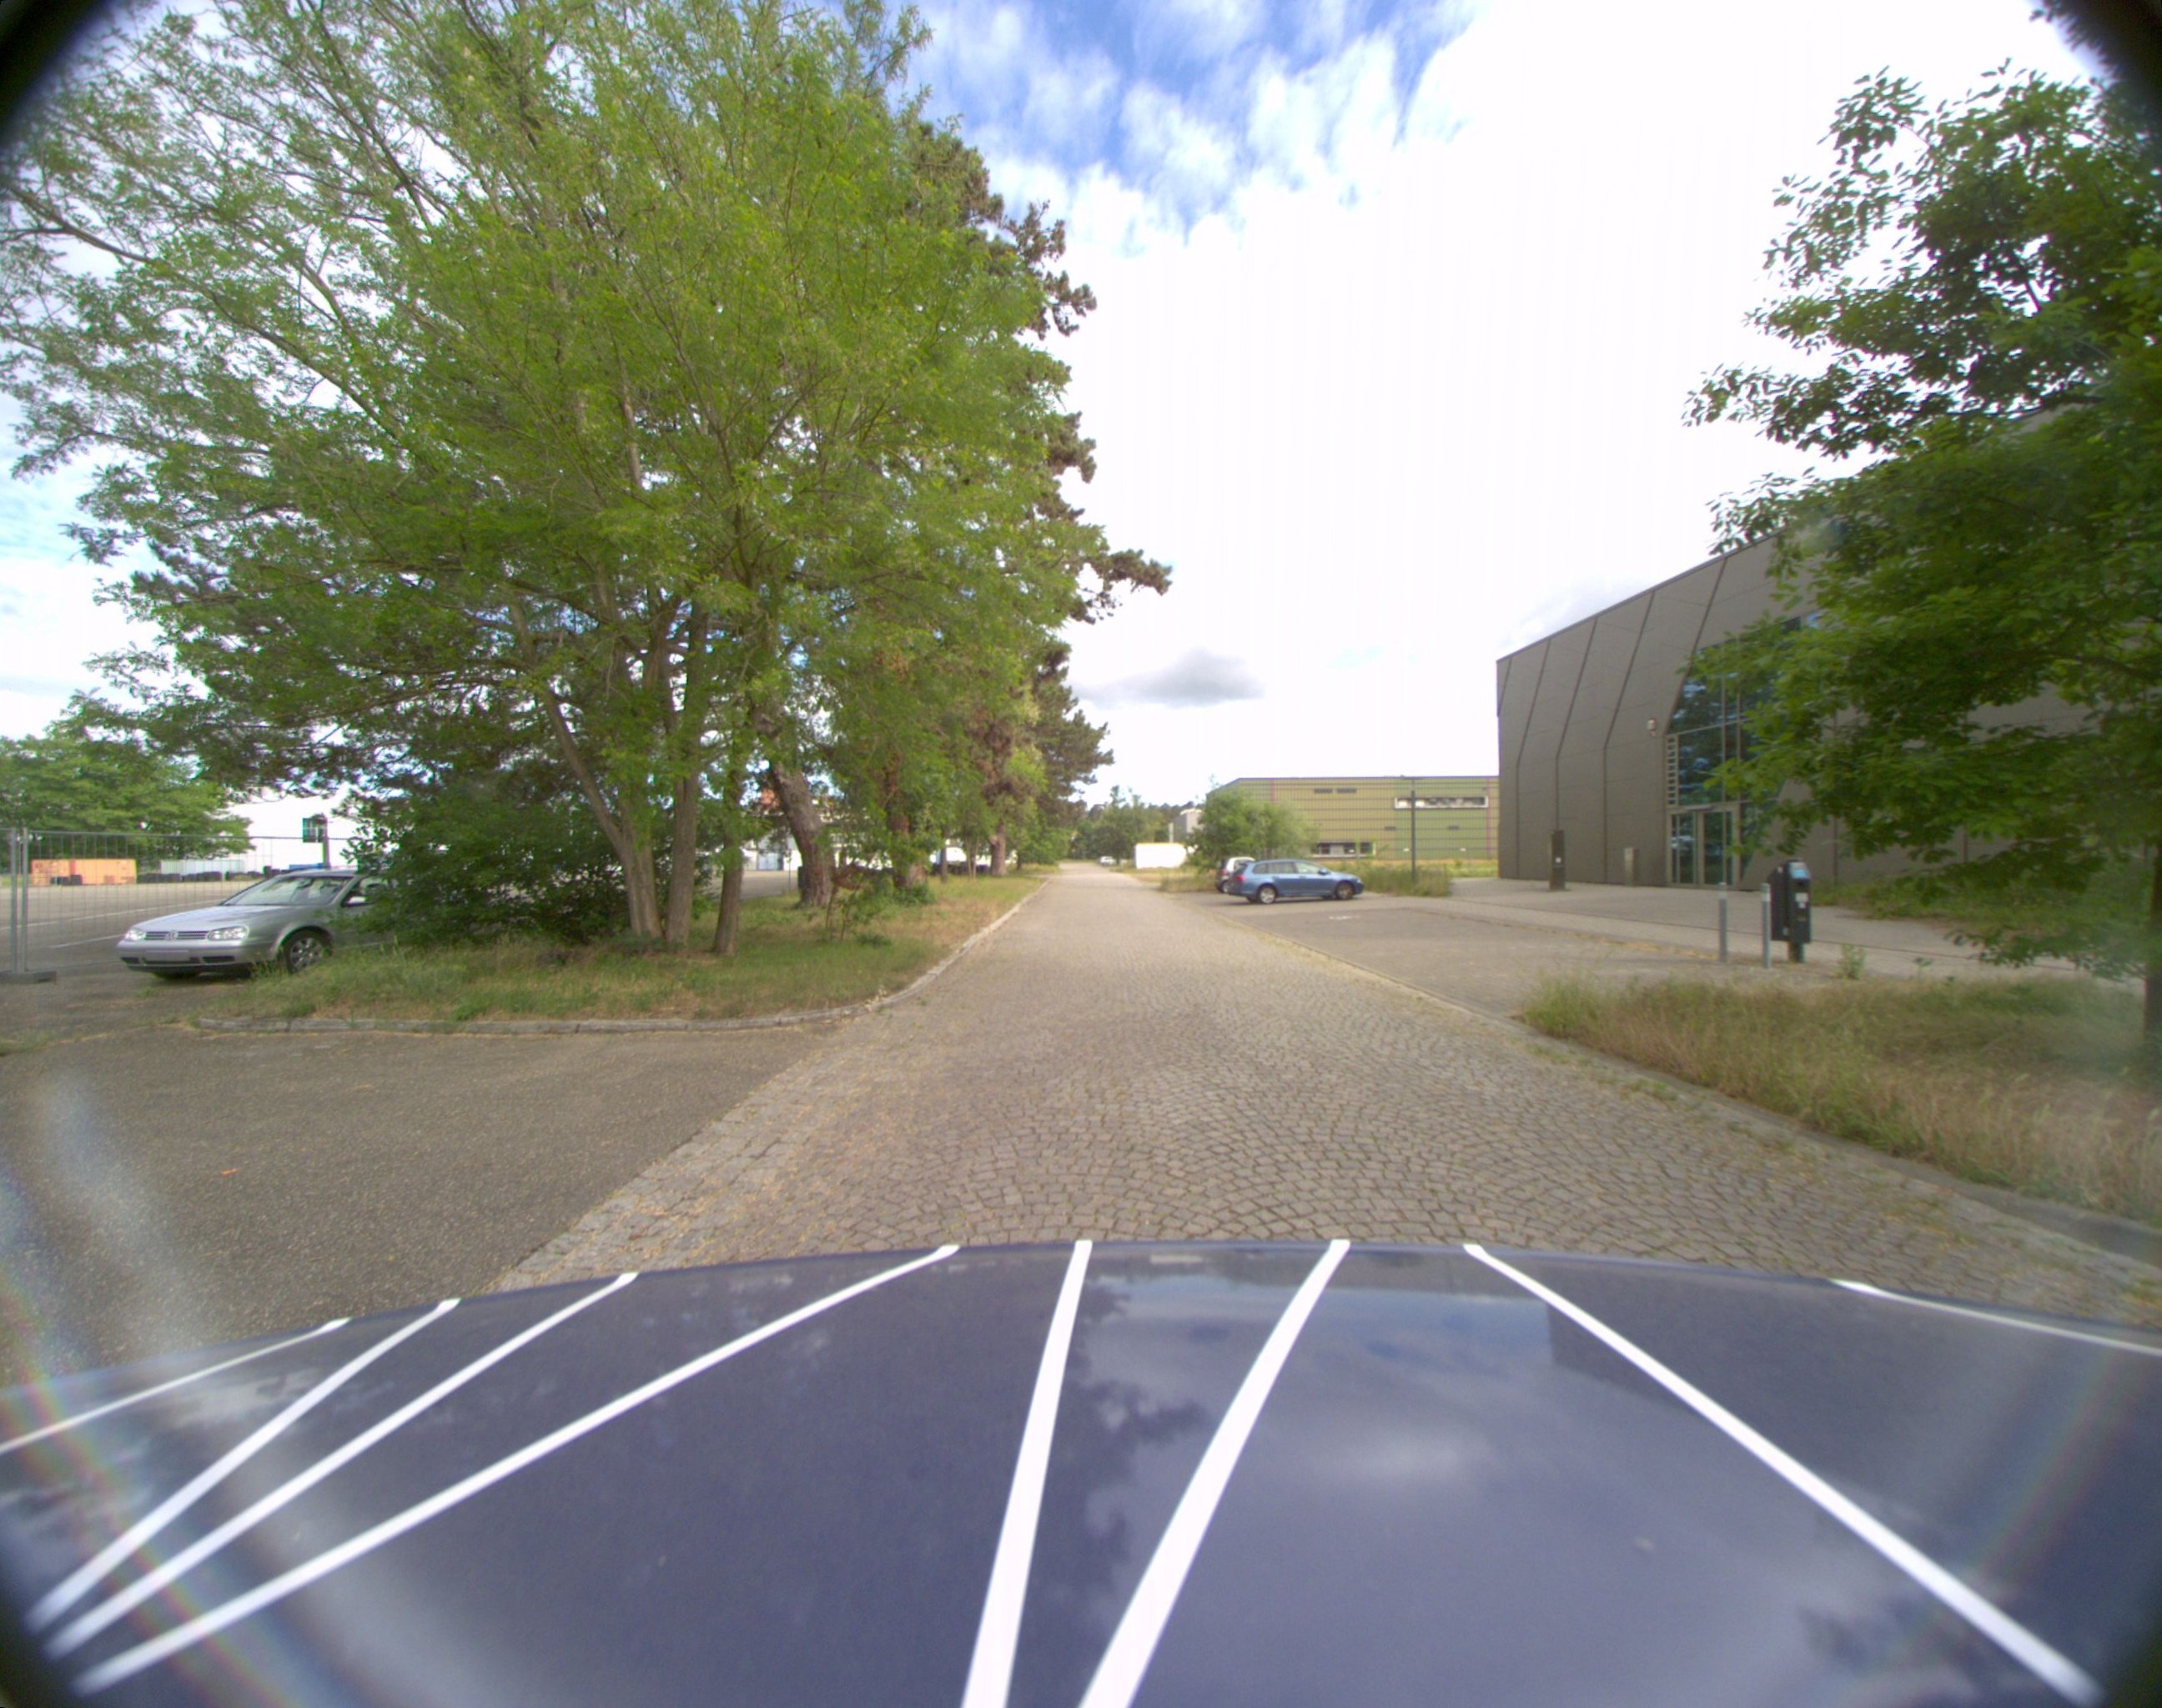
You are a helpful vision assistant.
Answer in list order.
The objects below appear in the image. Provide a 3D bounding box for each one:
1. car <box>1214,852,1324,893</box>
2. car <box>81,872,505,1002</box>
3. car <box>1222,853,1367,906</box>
[{"bbox_3d":[8.151,0.798,33.253,4.401,1.537,1.842,-3,0,6],"label":"car"},{"bbox_3d":[-11.136,1.057,11.319,1.759,1.440,4.327,-1,0,1],"label":"car"},{"bbox_3d":[7.224,0.846,25.946,4.404,1.501,1.716,-3,1,-3],"label":"car"}]
